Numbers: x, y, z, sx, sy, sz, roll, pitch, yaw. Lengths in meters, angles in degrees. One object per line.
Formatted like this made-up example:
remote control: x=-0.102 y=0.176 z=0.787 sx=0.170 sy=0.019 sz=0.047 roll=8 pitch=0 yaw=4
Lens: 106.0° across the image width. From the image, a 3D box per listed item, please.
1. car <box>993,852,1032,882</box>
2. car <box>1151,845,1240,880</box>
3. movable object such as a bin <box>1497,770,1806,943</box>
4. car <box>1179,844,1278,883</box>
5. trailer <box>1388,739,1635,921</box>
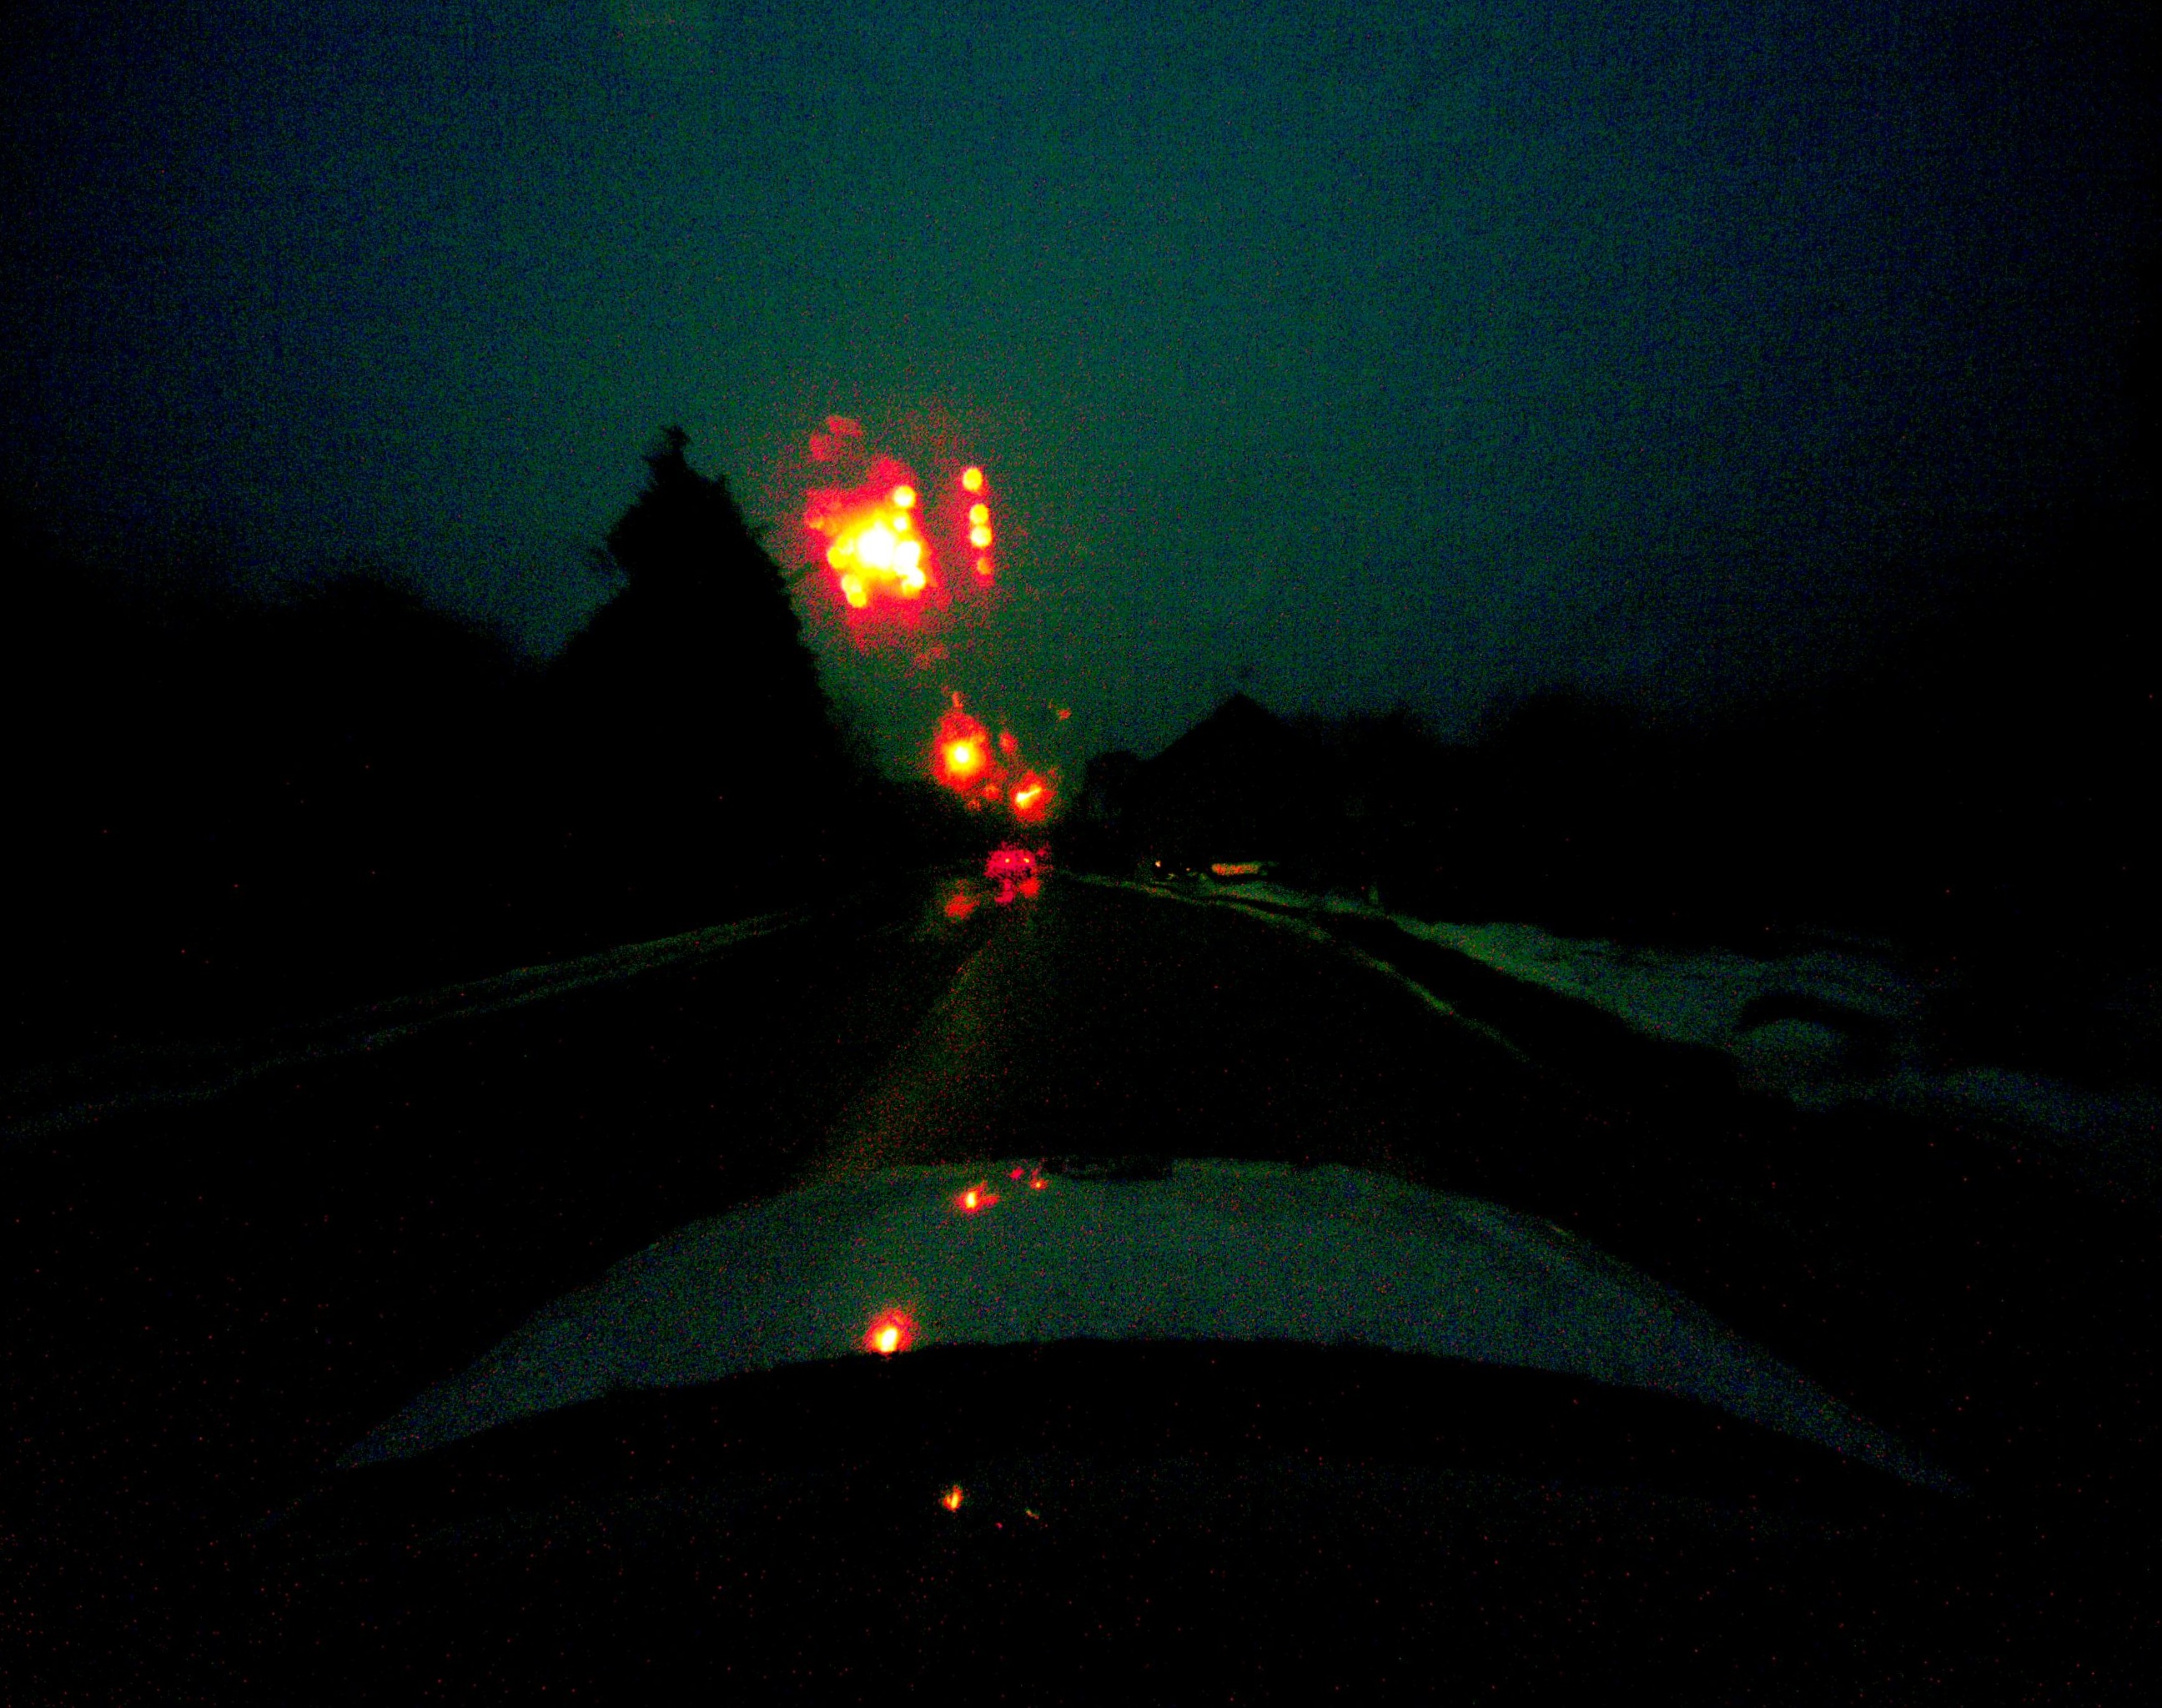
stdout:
car: x=-4.295 y=0.855 z=50.615 sx=1.994 sy=1.737 sz=3.863 roll=-1 pitch=-3 yaw=-11
car: x=5.532 y=0.435 z=39.721 sx=4.141 sy=1.559 sz=1.947 roll=-1 pitch=-3 yaw=2
movable object such as a bin: x=9.314 y=0.062 z=13.929 sx=2.376 sy=2.469 sz=4.521 roll=0 pitch=-1 yaw=4
car: x=6.585 y=0.452 z=36.651 sx=4.219 sy=1.559 sz=2.004 roll=-1 pitch=-3 yaw=7
trailer: x=9.432 y=-0.431 z=18.554 sx=2.867 sy=3.561 sz=5.058 roll=1 pitch=-1 yaw=-2
